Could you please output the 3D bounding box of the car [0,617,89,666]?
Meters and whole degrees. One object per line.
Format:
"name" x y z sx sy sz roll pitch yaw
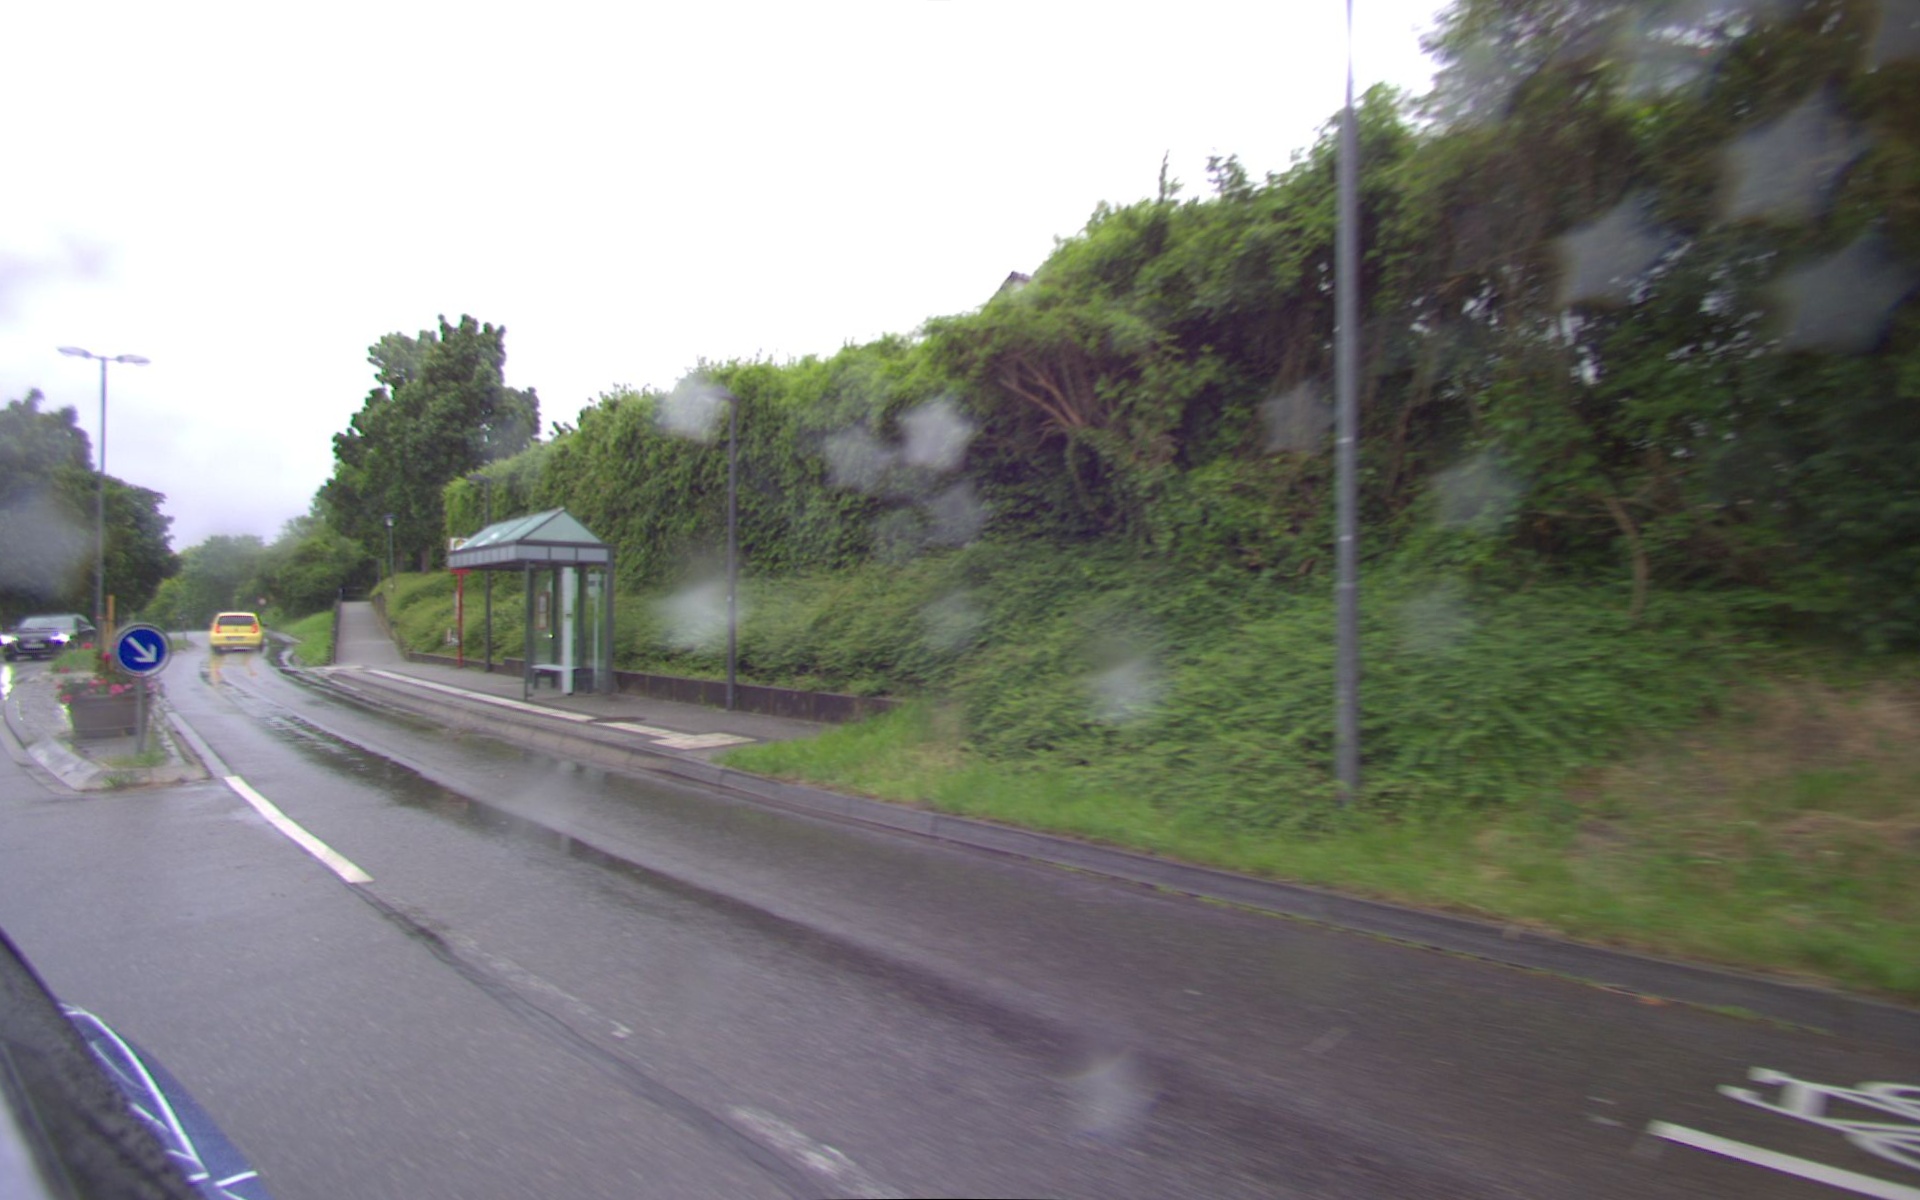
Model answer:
"car" -29.765 1.377 32.918 1.736 1.497 3.800 1 -4 -34

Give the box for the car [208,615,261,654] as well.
"car" -28.057 1.331 39.191 1.551 1.421 3.483 2 -3 -35
